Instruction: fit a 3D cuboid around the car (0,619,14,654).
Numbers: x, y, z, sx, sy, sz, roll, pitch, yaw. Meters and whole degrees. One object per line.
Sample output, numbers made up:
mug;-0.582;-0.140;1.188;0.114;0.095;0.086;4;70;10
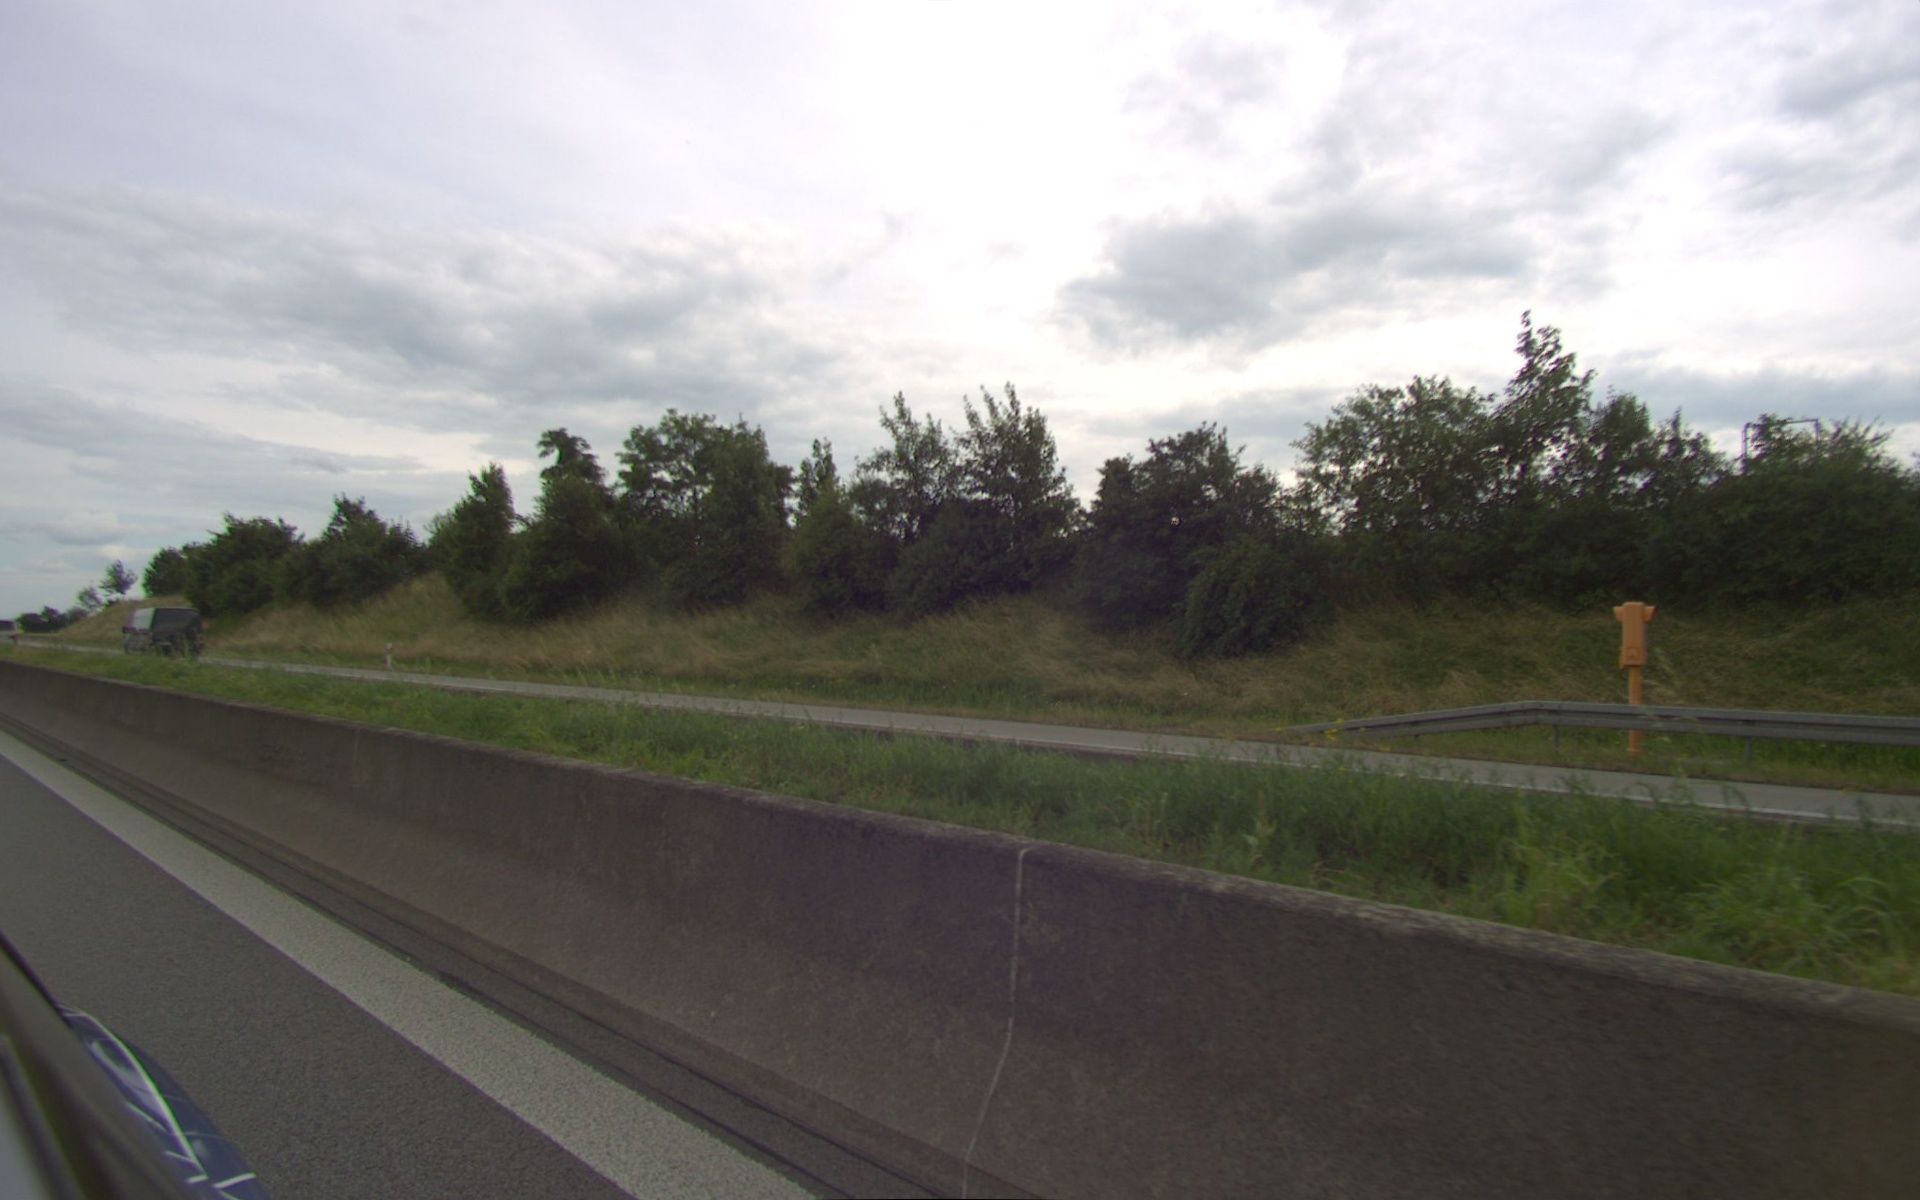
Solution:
car;-57.009;2.149;59.176;5.127;2.029;1.959;-2;-2;41

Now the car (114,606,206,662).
car;-37.772;1.618;47.699;6.720;2.484;2.147;-1;-4;41
